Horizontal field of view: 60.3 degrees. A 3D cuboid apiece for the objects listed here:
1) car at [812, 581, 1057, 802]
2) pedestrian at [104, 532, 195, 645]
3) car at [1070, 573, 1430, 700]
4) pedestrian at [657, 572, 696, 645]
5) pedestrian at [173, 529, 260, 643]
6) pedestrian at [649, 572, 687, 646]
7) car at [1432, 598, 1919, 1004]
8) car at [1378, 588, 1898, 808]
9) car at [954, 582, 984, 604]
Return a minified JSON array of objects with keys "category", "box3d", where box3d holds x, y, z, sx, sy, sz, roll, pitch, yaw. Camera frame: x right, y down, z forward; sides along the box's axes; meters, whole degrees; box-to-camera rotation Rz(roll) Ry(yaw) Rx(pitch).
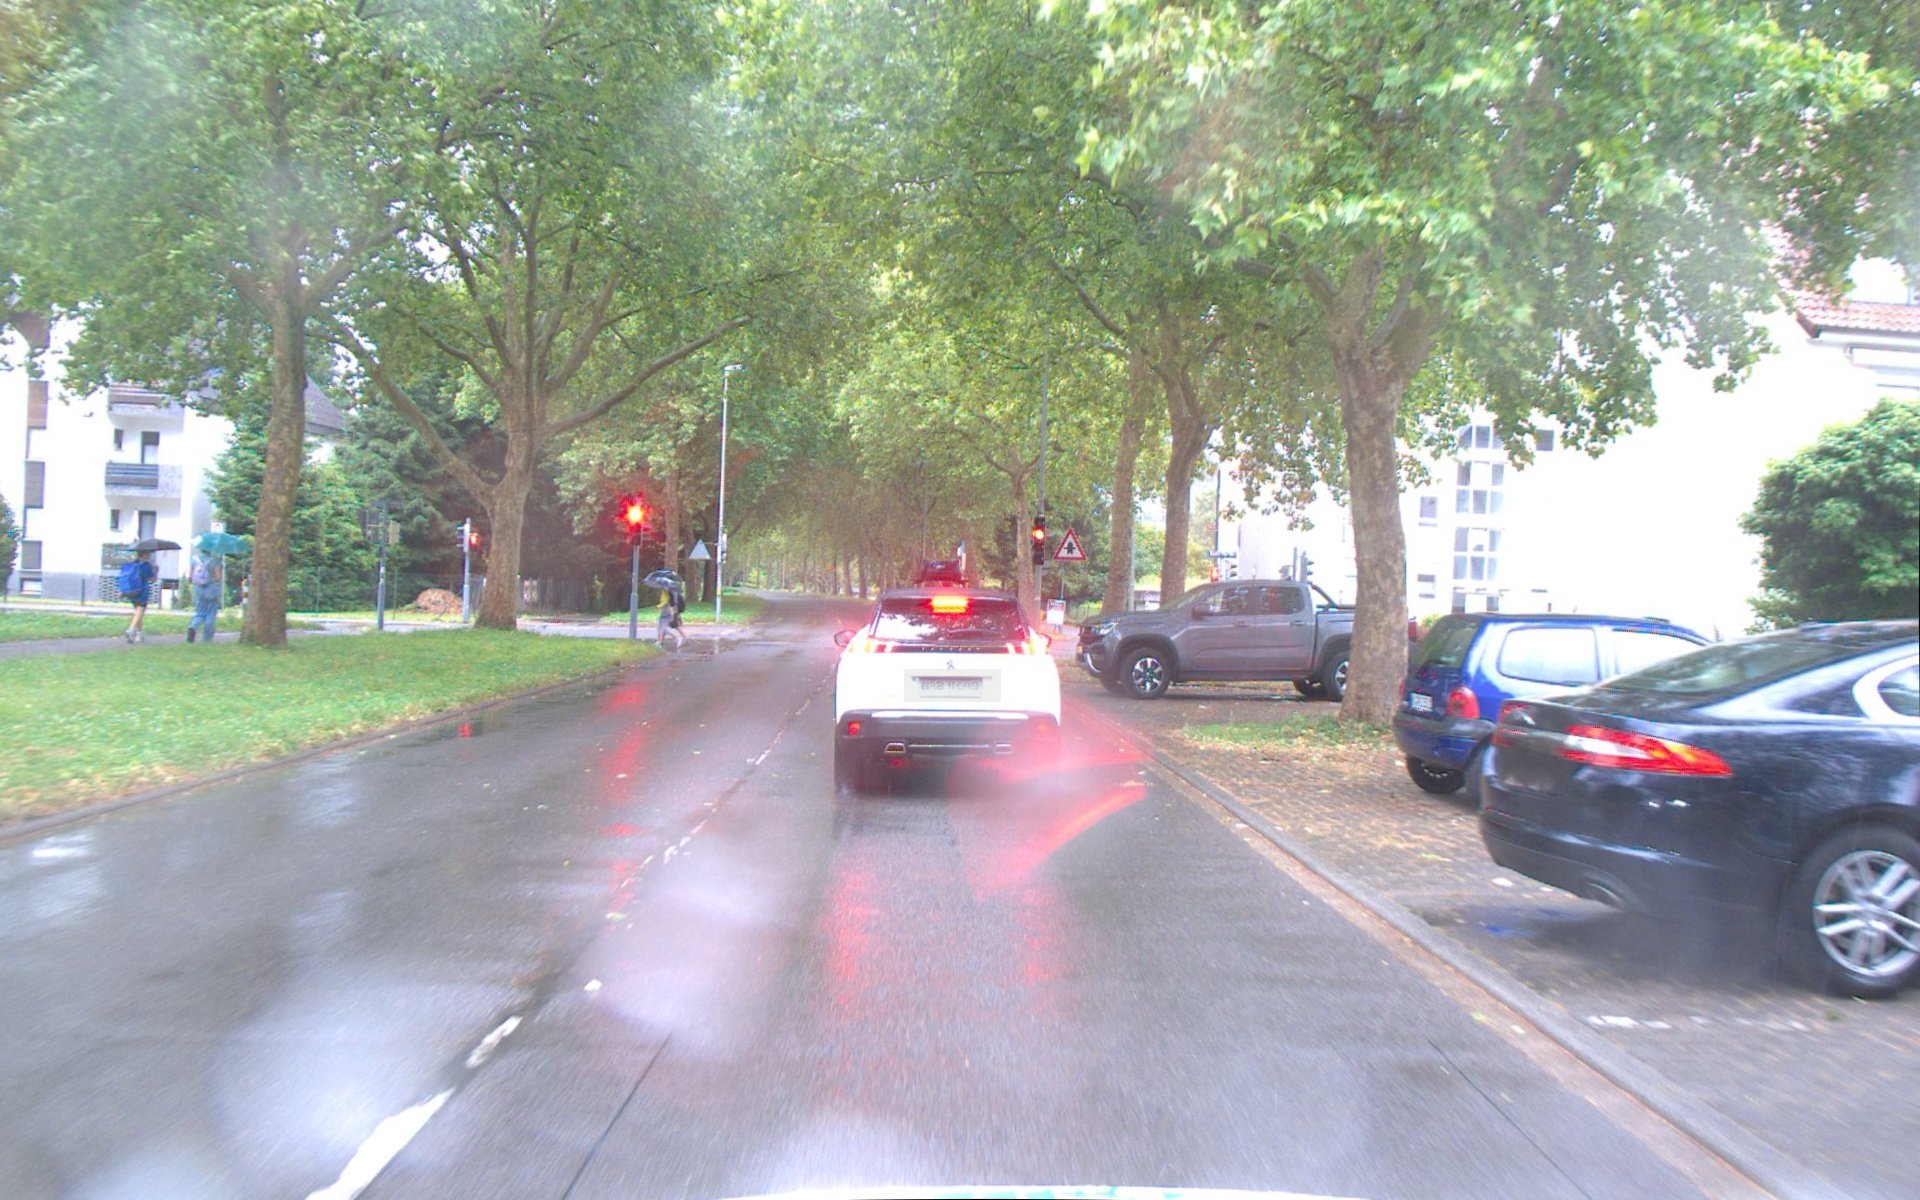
[{"category":"car","box3d":[-0.212,0.643,13.990,1.744,1.563,4.057,1,0,-1]},{"category":"pedestrian","box3d":[-13.207,-0.190,26.968,1.012,1.796,0.879,1,0,-1]},{"category":"car","box3d":[4.490,0.556,25.953,5.237,1.838,1.842,1,0,-8]},{"category":"pedestrian","box3d":[-7.061,0.211,41.267,0.842,1.775,0.639,2,0,-4]},{"category":"pedestrian","box3d":[-12.058,-0.231,26.846,1.012,1.796,0.838,1,0,-1]},{"category":"pedestrian","box3d":[-7.111,0.212,40.293,0.804,1.775,0.639,2,0,-4]},{"category":"car","box3d":[4.745,0.787,7.405,4.674,1.498,1.935,1,0,-7]},{"category":"car","box3d":[5.070,0.701,12.657,3.288,1.489,1.618,2,0,-2]},{"category":"car","box3d":[0.658,-0.511,121.551,1.868,1.536,3.928,1,0,-4]}]
